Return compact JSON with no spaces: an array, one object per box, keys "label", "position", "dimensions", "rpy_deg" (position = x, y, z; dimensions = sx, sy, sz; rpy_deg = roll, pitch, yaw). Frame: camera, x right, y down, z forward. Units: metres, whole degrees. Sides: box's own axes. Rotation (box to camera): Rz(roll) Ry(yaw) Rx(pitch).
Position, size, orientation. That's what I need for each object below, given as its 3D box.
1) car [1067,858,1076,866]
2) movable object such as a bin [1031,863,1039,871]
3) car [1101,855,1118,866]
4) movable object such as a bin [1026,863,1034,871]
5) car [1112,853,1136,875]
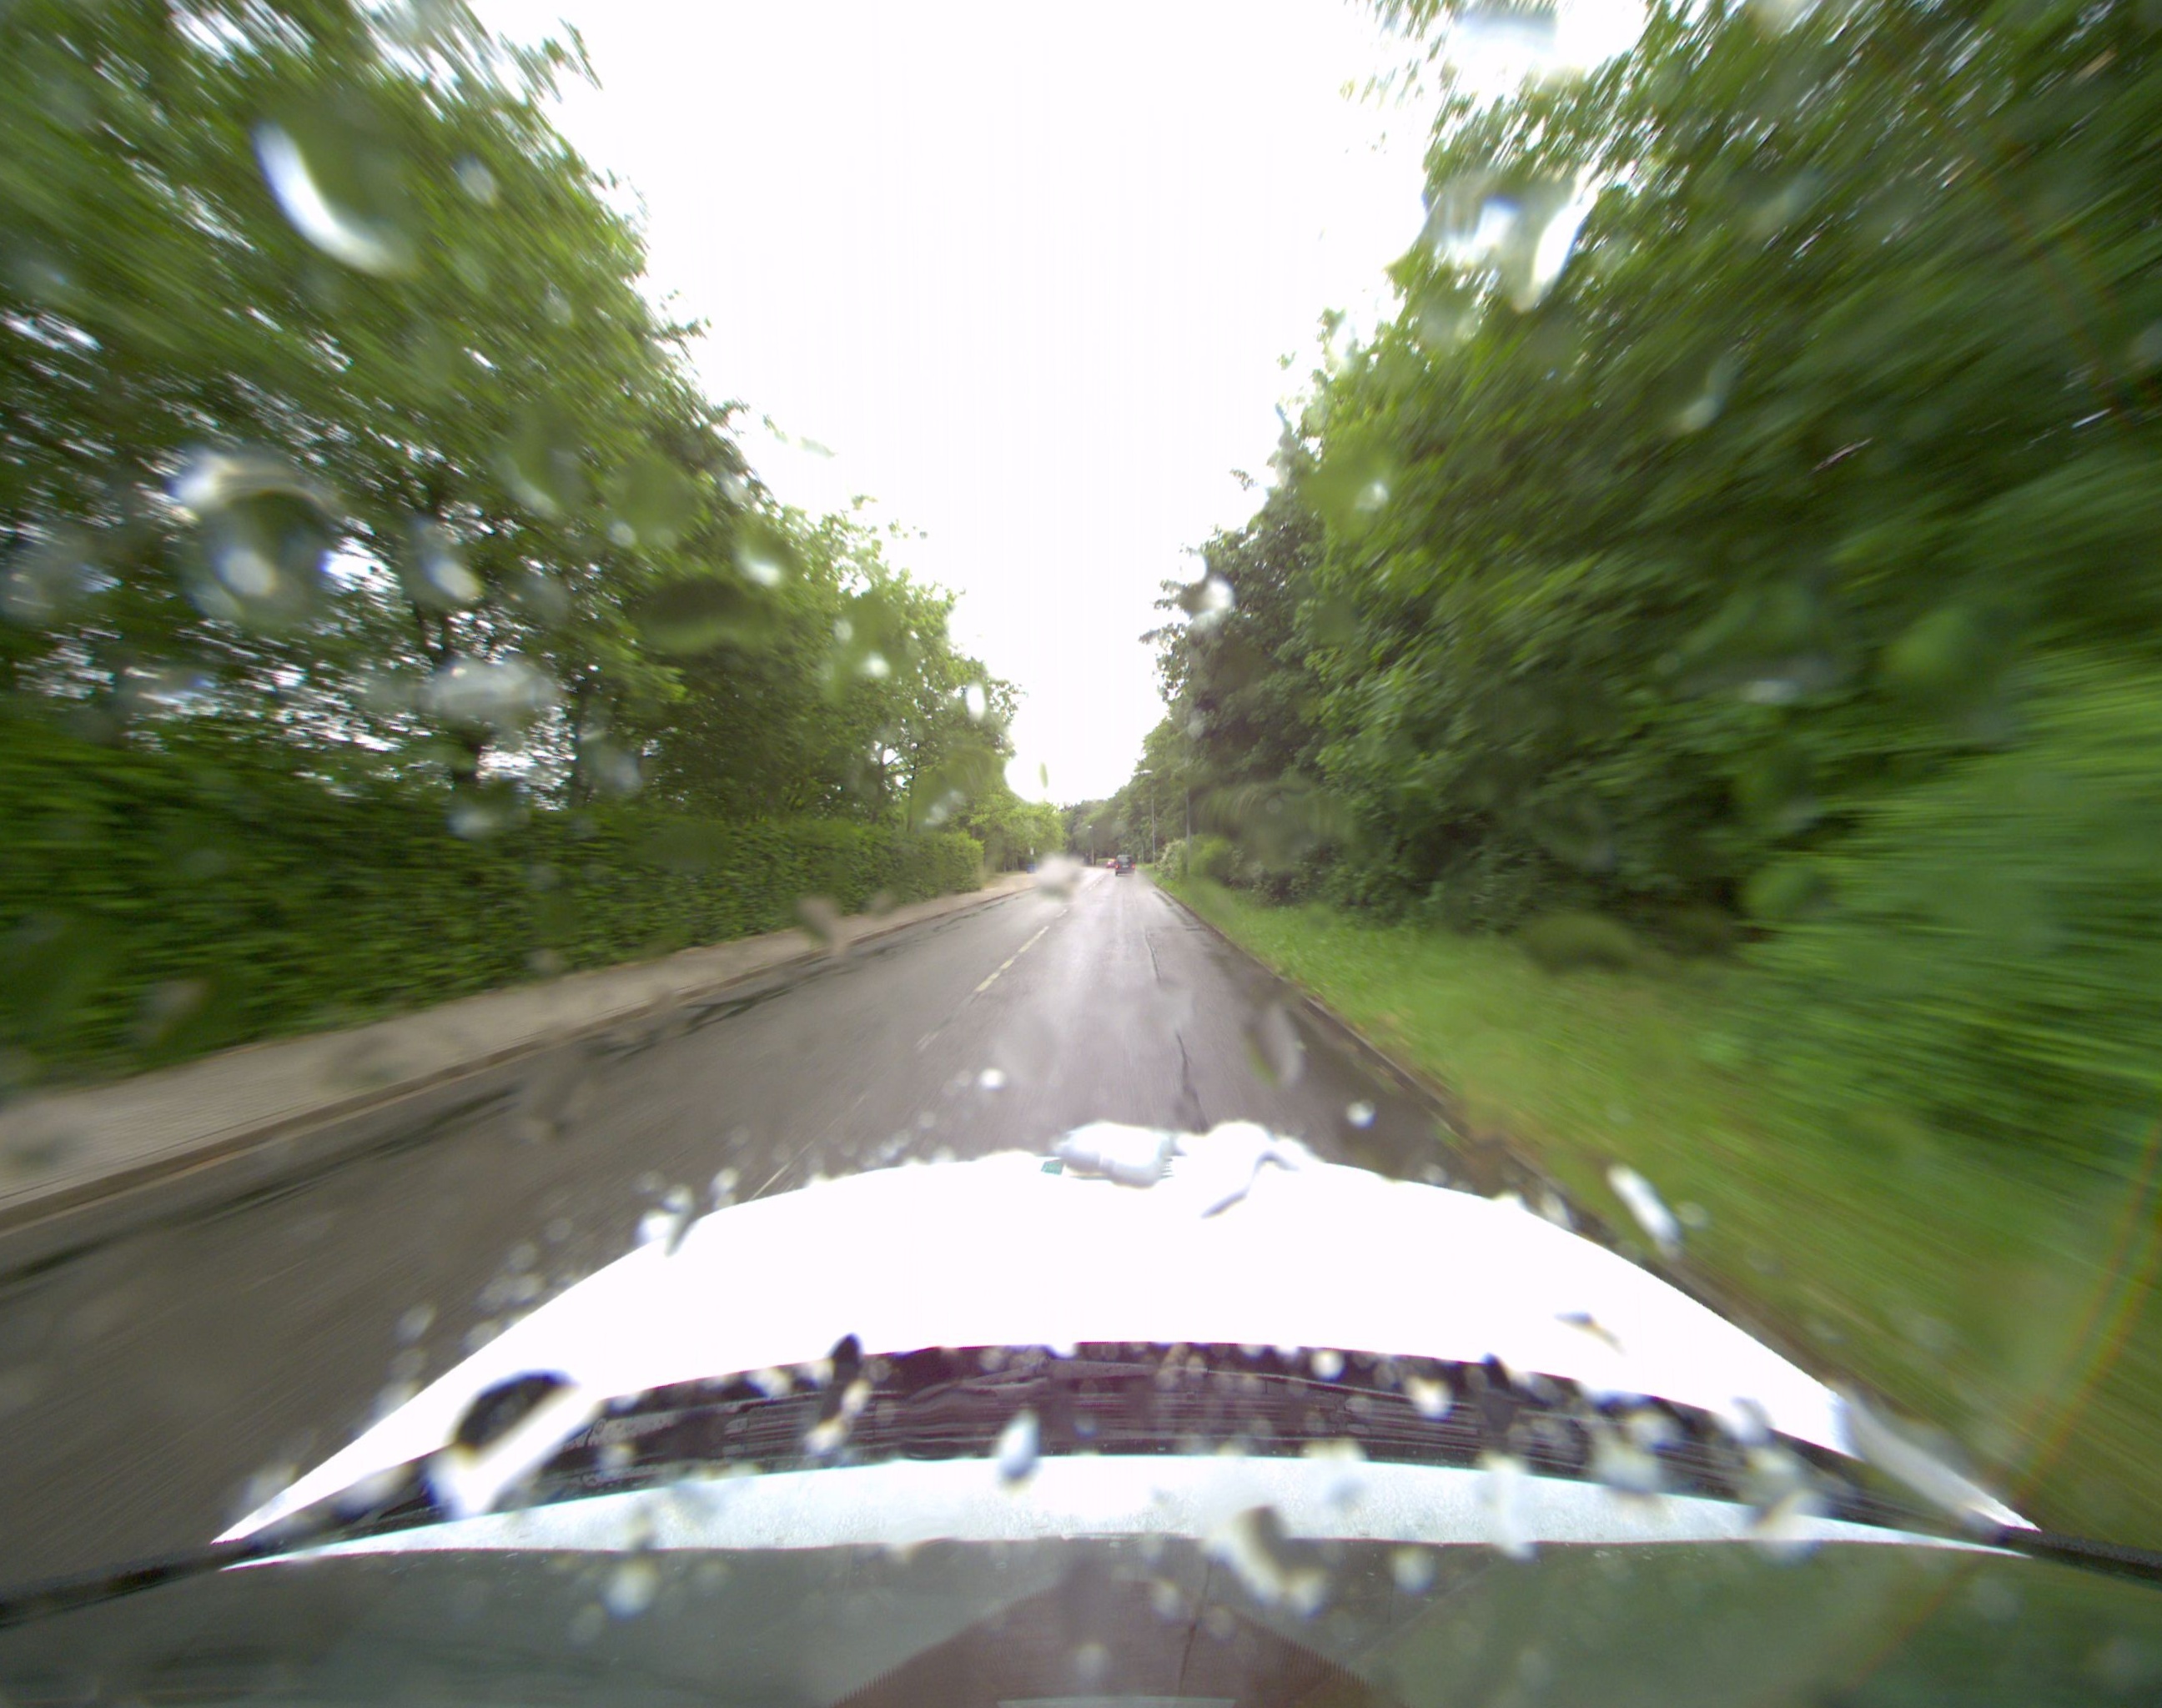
[{"label":"car","position":[-2.328,2.050,204.626],"dimensions":[1.986,2.013,4.001],"rpy_deg":[1,0,1]},{"label":"movable object such as a bin","position":[-5.734,1.615,100.985],"dimensions":[0.670,1.026,0.827],"rpy_deg":[-3,0,-29]},{"label":"car","position":[4.847,1.076,138.269],"dimensions":[1.995,1.772,3.983],"rpy_deg":[-2,0,-12]},{"label":"movable object such as a bin","position":[-6.353,1.603,100.641],"dimensions":[0.670,1.026,0.827],"rpy_deg":[-3,0,-29]},{"label":"car","position":[3.858,0.853,73.678],"dimensions":[1.986,1.793,4.002],"rpy_deg":[2,1,1]}]
